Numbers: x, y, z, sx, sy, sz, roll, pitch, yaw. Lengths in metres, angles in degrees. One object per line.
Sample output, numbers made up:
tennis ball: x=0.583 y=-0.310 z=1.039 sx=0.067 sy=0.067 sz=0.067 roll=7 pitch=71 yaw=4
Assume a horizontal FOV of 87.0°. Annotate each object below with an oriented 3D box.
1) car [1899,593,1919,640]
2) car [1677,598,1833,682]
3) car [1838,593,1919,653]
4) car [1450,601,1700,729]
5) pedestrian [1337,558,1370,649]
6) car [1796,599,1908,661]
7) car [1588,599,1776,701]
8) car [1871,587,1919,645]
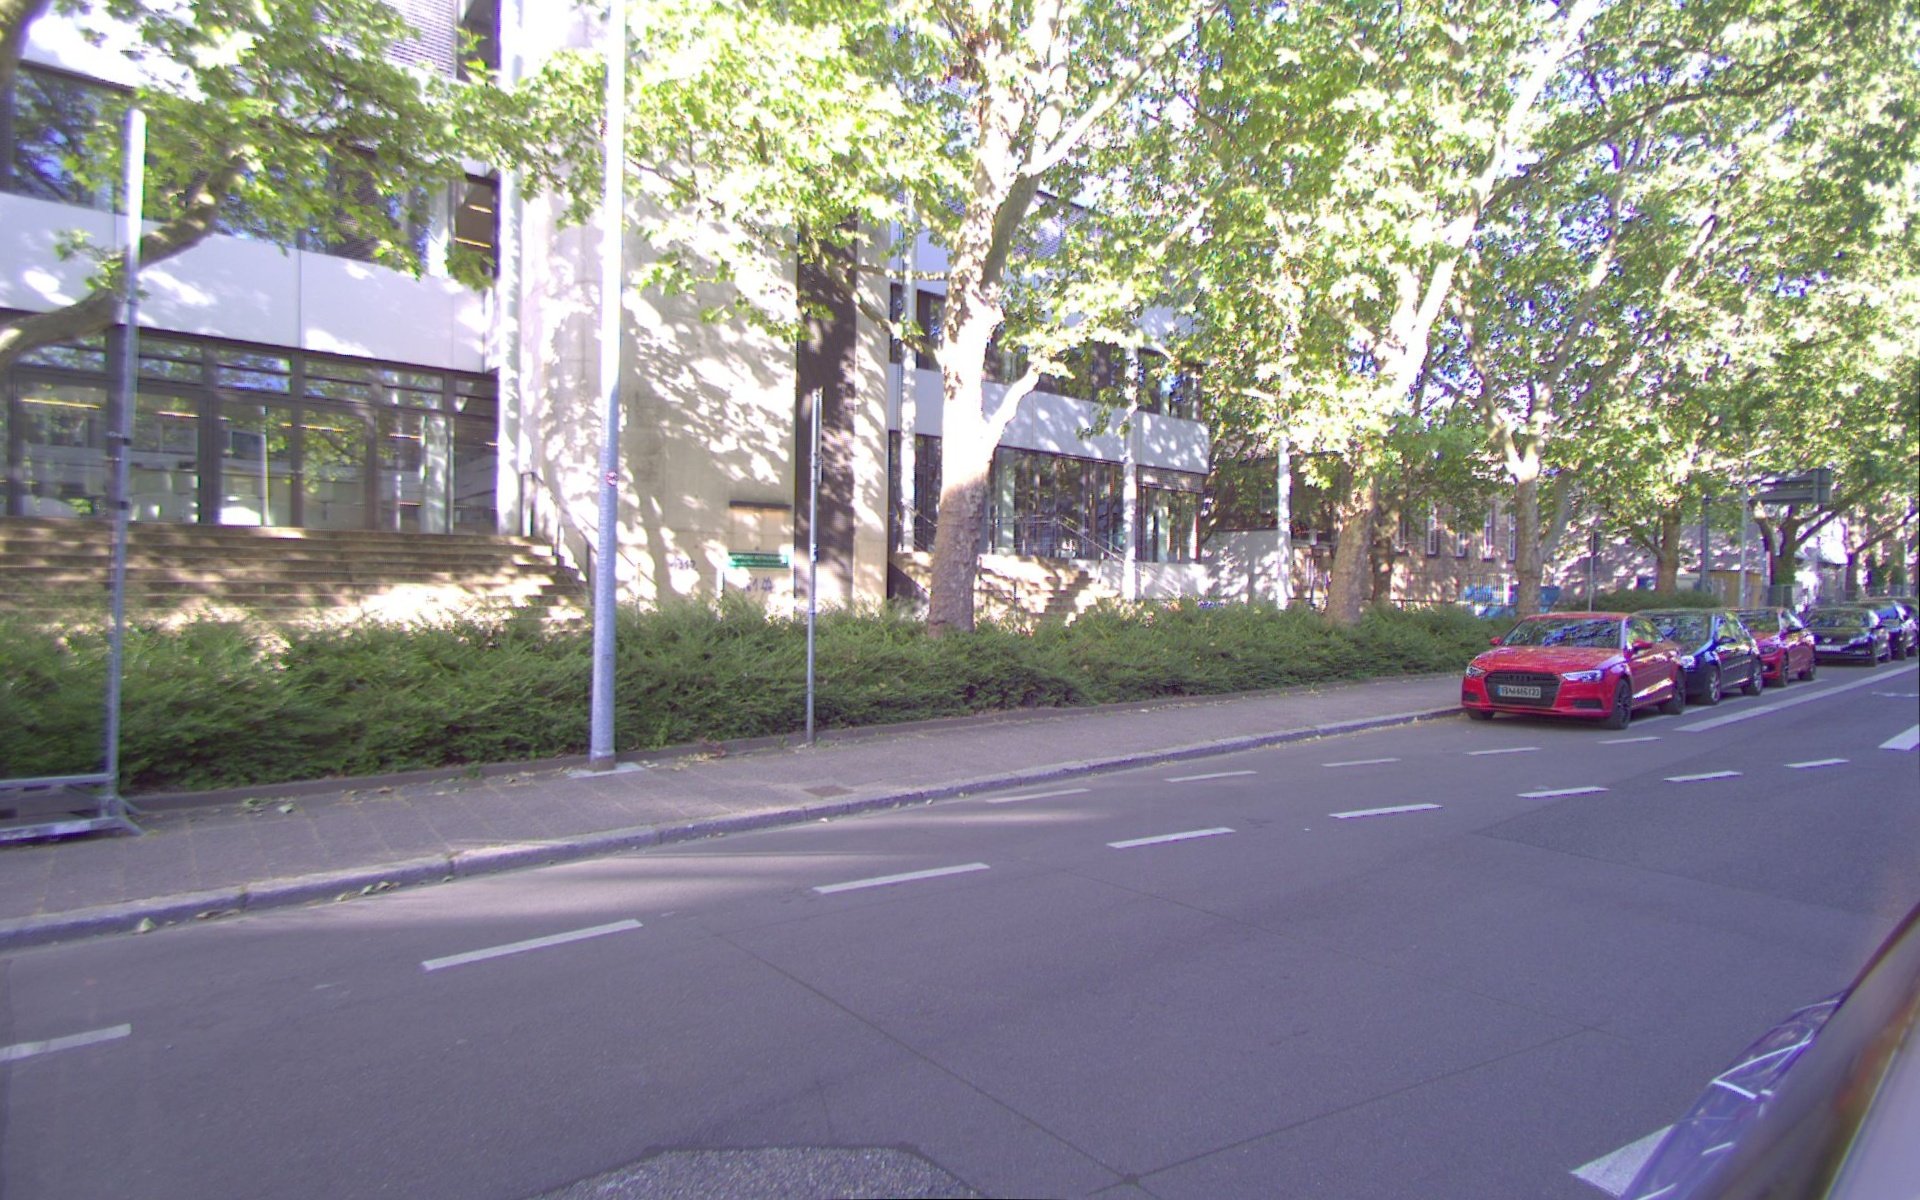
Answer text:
car: x=35.525 y=0.571 z=36.772 sx=4.497 sy=1.633 sz=1.632 roll=-1 pitch=0 yaw=-41
car: x=15.732 y=0.708 z=19.961 sx=3.854 sy=1.467 sz=1.691 roll=-1 pitch=0 yaw=-40
car: x=26.623 y=0.603 z=29.033 sx=4.158 sy=1.598 sz=1.632 roll=-1 pitch=0 yaw=-41
car: x=8.289 y=0.737 z=13.505 sx=3.931 sy=1.409 sz=1.792 roll=-1 pitch=0 yaw=-42
pedestrian: x=8.972 y=0.076 z=23.080 sx=0.549 sy=2.039 sz=0.555 roll=0 pitch=0 yaw=38
car: x=22.937 y=0.711 z=25.976 sx=3.855 sy=1.441 sz=1.691 roll=-1 pitch=0 yaw=-41
car: x=11.844 y=0.730 z=16.535 sx=3.632 sy=1.436 sz=1.668 roll=-1 pitch=0 yaw=-40
car: x=31.161 y=0.472 z=33.001 sx=4.497 sy=1.814 sz=1.632 roll=-1 pitch=0 yaw=-41
